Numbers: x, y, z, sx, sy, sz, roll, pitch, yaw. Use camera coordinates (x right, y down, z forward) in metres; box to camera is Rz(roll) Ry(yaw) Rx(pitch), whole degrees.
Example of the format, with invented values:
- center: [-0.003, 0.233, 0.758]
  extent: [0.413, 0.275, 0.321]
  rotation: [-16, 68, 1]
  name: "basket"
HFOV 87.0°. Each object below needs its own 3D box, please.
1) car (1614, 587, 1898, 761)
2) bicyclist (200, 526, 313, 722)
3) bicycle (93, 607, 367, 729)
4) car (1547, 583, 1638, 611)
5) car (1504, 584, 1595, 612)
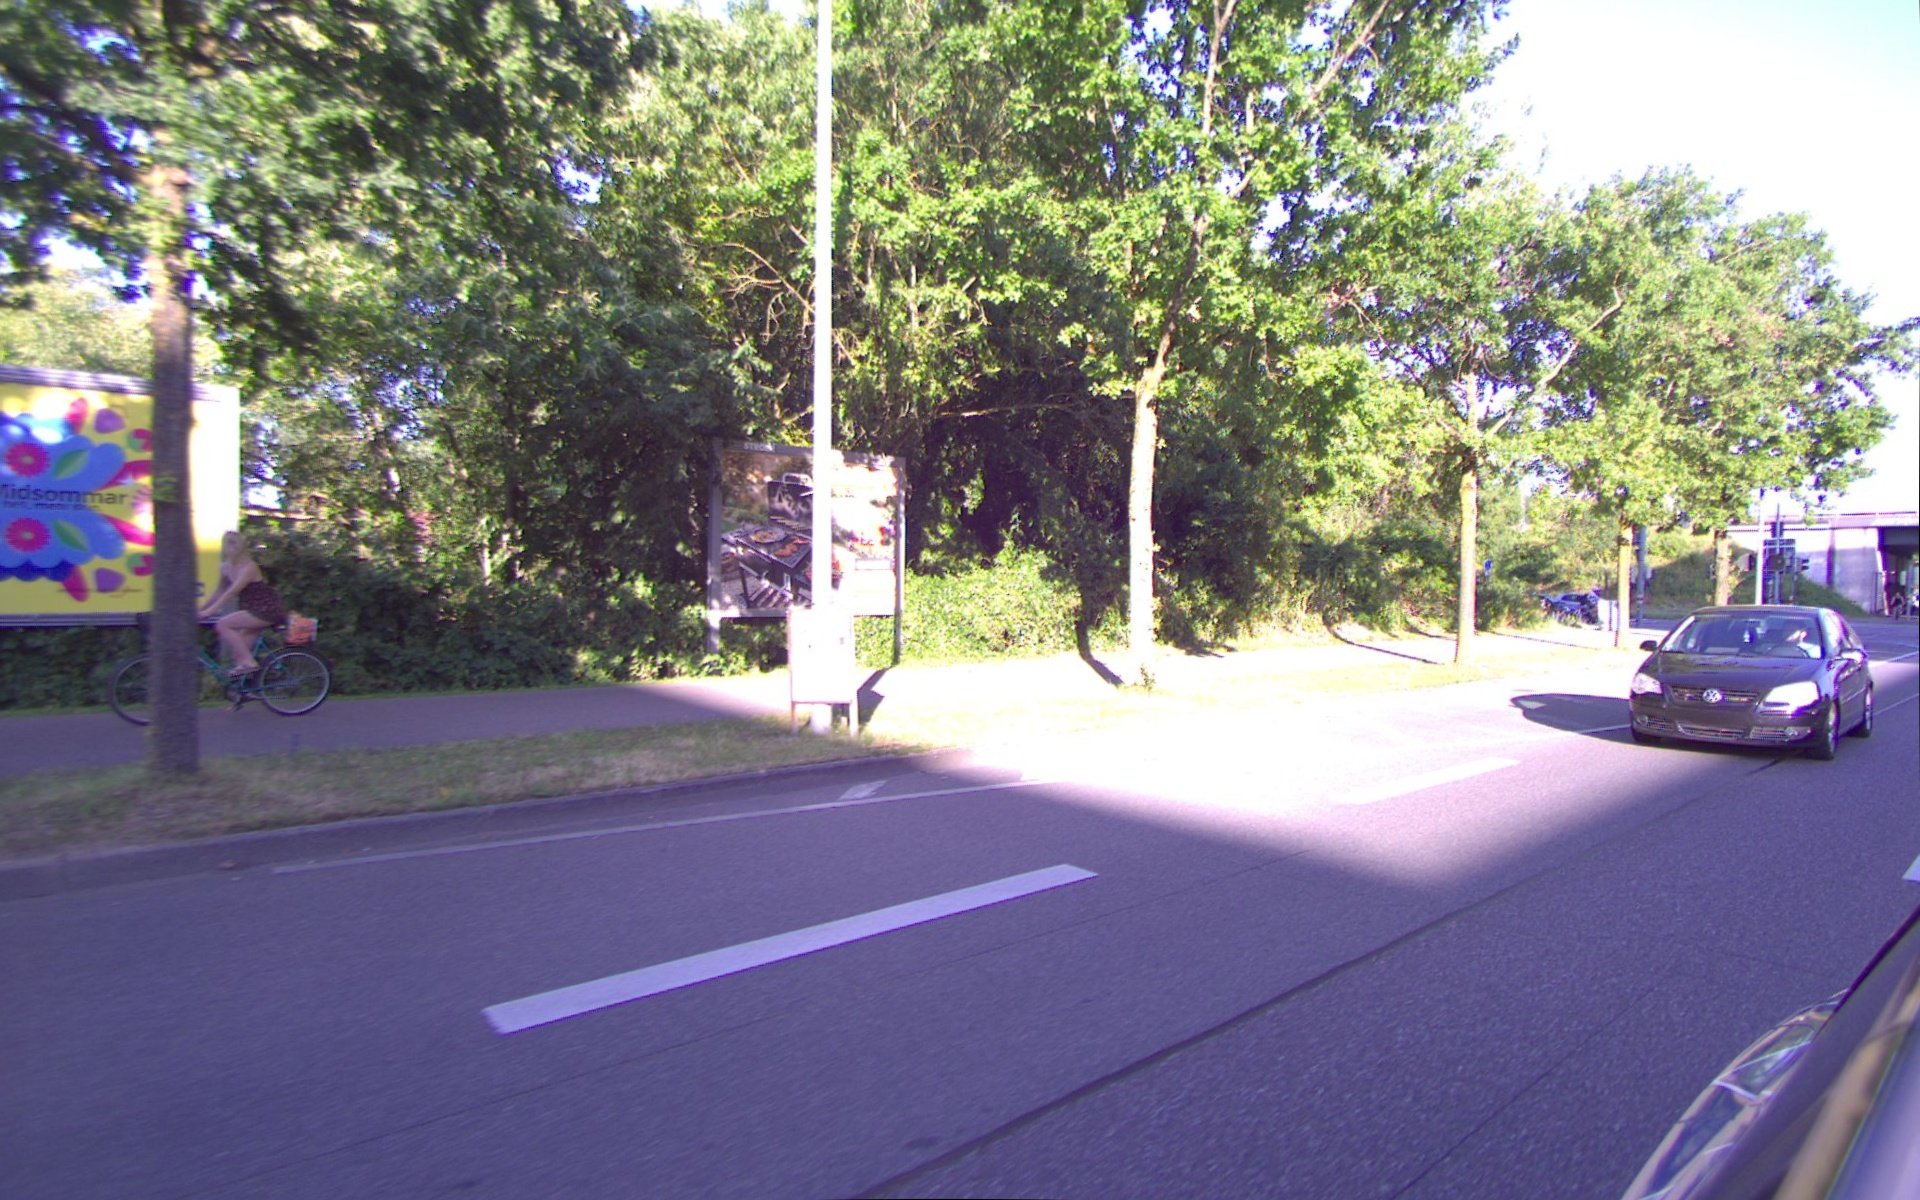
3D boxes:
- center: [8.683, 0.629, 10.909]
  extent: [4.141, 1.518, 1.724]
  rotation: [-1, 0, -42]
  name: "car"
- center: [-6.625, 0.204, 9.531]
  extent: [0.833, 1.755, 0.604]
  rotation: [0, 1, -39]
  name: "bicyclist"
- center: [-6.744, 0.582, 9.447]
  extent: [2.021, 0.986, 0.618]
  rotation: [0, 1, -39]
  name: "bicycle"
- center: [38.380, -0.210, 61.472]
  extent: [1.895, 1.537, 4.290]
  rotation: [0, 2, -36]
  name: "car"
- center: [35.254, -0.143, 60.642]
  extent: [1.895, 1.537, 4.290]
  rotation: [0, 2, -36]
  name: "car"
